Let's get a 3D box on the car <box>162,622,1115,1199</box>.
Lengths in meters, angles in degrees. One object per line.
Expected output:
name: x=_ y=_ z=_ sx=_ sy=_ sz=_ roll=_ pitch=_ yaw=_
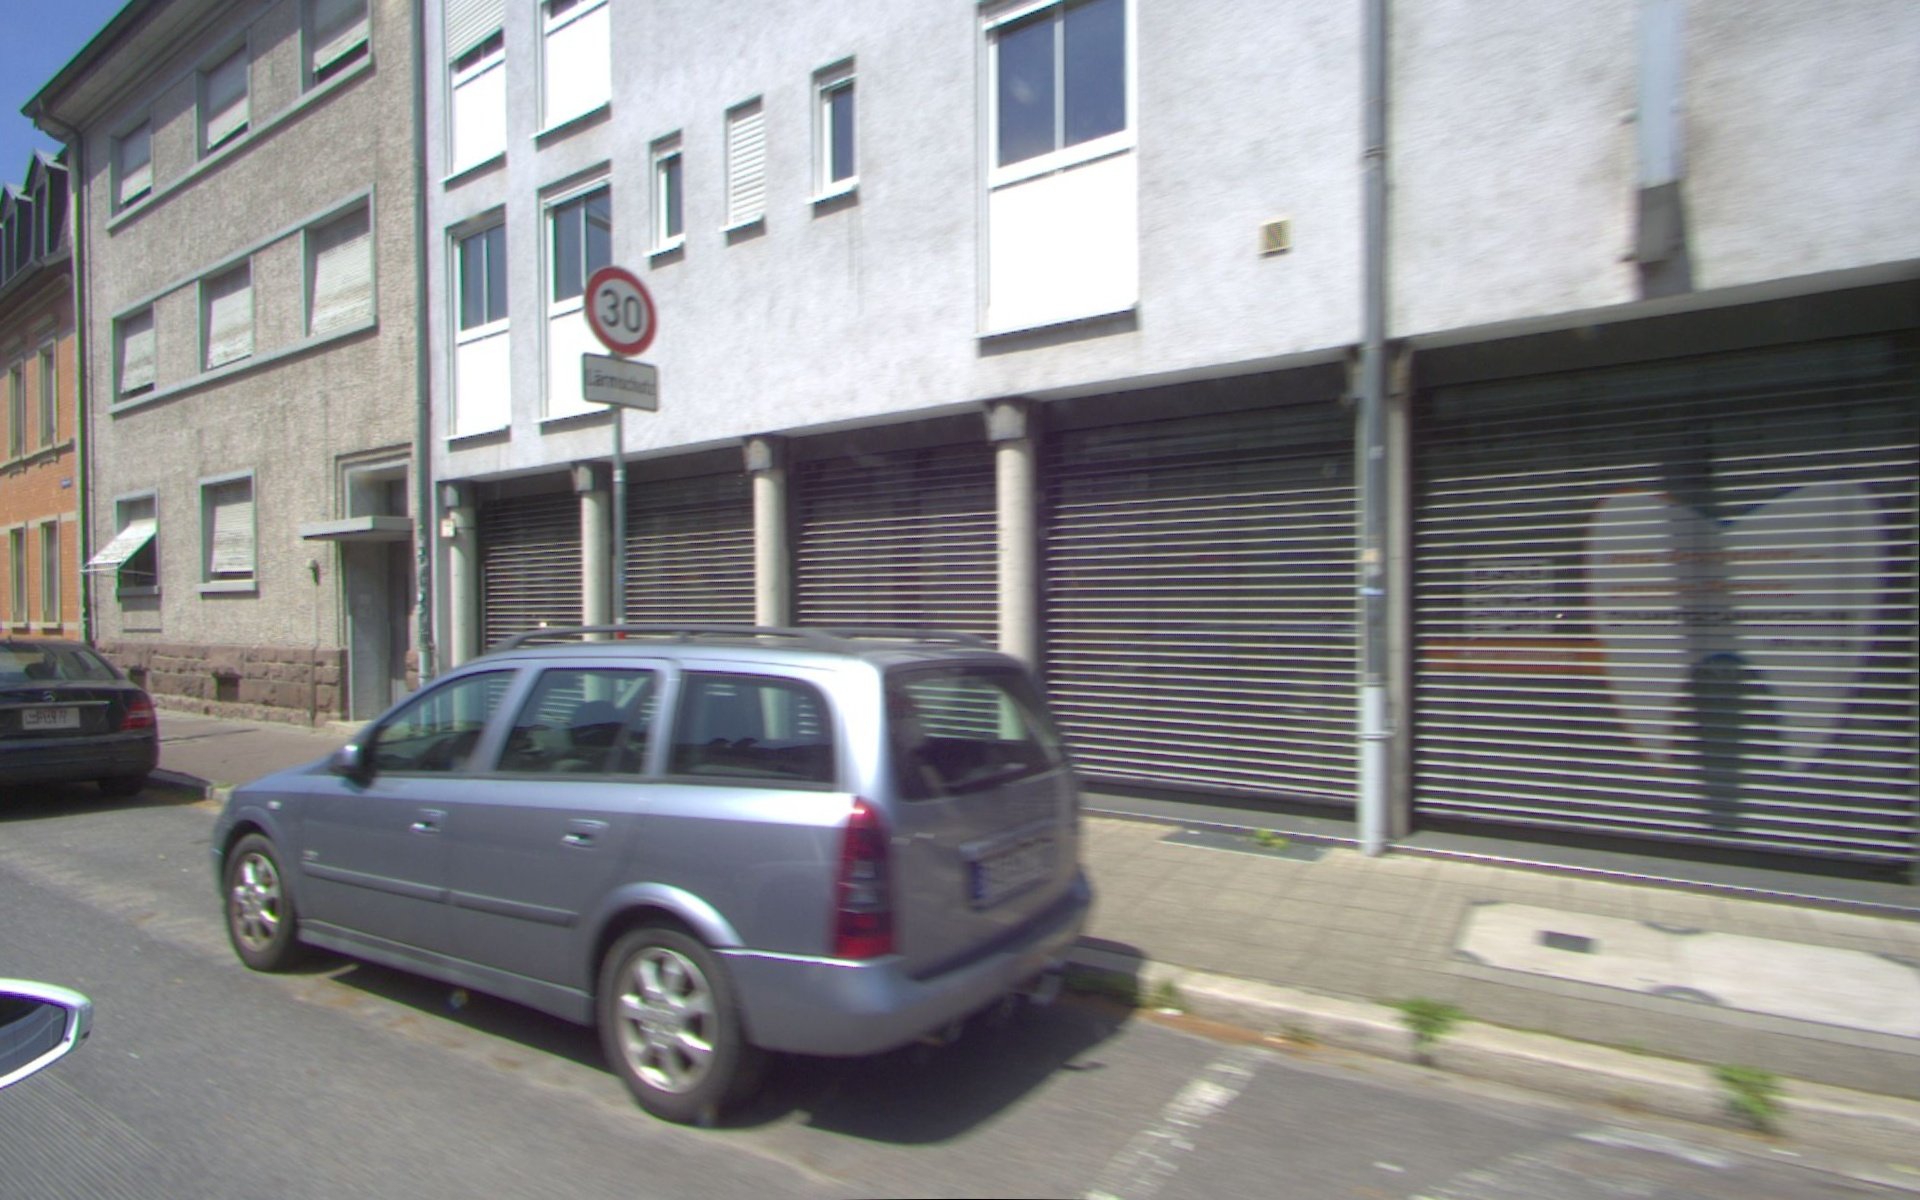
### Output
car: x=-1.552 y=0.850 z=4.336 sx=4.082 sy=1.473 sz=1.675 roll=-1 pitch=-2 yaw=31

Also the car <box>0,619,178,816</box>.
car: x=-9.019 y=0.936 z=9.135 sx=4.377 sy=1.492 sz=1.707 roll=-1 pitch=0 yaw=34
